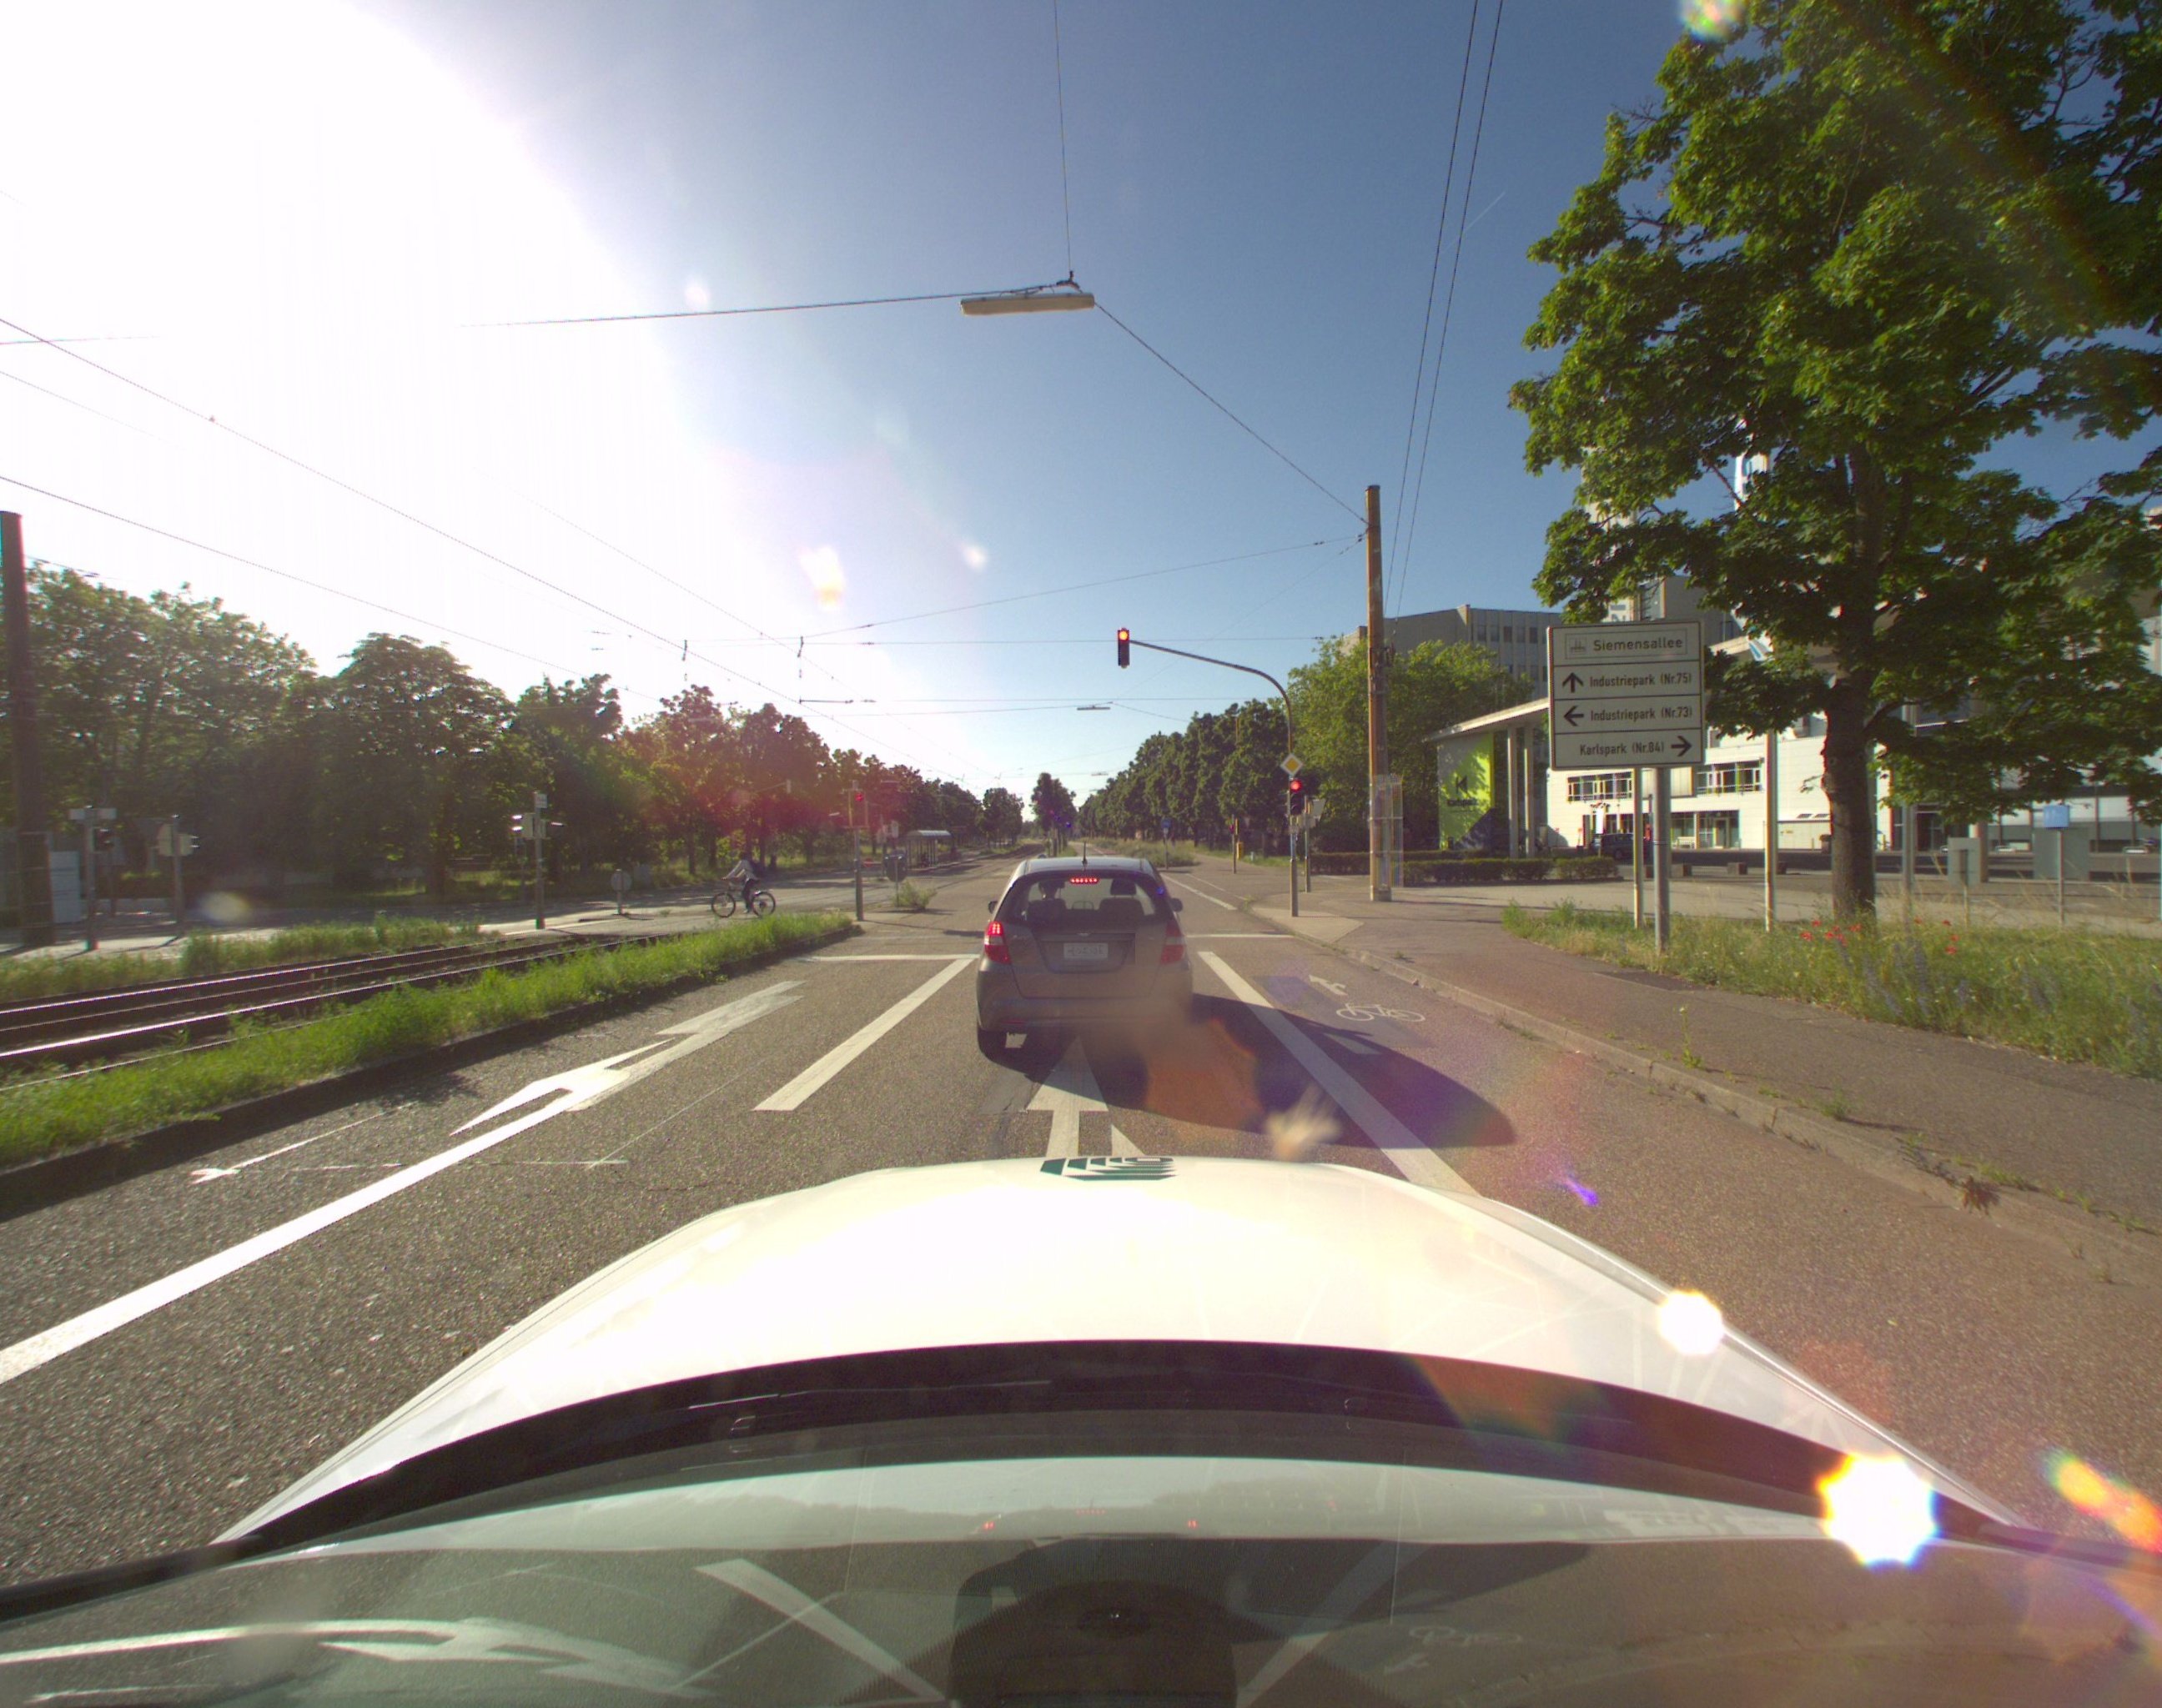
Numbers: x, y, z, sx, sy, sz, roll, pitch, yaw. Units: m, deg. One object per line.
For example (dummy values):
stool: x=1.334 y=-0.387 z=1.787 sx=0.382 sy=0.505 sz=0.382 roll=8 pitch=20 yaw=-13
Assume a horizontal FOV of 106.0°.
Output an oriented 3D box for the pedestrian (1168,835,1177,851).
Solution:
pedestrian: x=10.836 y=-1.341 z=96.011 sx=0.880 sy=1.884 sz=0.875 roll=-2 pitch=1 yaw=-2

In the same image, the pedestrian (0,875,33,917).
pedestrian: x=-48.364 y=1.895 z=36.824 sx=0.943 sy=1.787 sz=0.824 roll=-2 pitch=1 yaw=15

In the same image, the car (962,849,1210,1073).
car: x=0.093 y=0.741 z=7.476 sx=1.694 sy=1.524 sz=3.711 roll=-1 pitch=0 yaw=2

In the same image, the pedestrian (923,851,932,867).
pedestrian: x=-12.445 y=0.382 z=66.003 sx=0.562 sy=1.257 sz=0.581 roll=-4 pitch=0 yaw=1

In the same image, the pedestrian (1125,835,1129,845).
pedestrian: x=8.020 y=-2.360 z=141.985 sx=0.723 sy=1.690 sz=0.820 roll=-1 pitch=-1 yaw=-1

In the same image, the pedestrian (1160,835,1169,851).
pedestrian: x=9.893 y=-1.334 z=96.016 sx=0.880 sy=1.884 sz=0.875 roll=-2 pitch=1 yaw=-2

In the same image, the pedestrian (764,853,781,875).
pedestrian: x=-24.237 y=0.771 z=63.912 sx=0.751 sy=1.734 sz=0.943 roll=-1 pitch=1 yaw=30

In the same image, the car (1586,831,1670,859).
car: x=33.321 y=-0.564 z=49.639 sx=3.984 sy=1.578 sz=1.949 roll=-1 pitch=0 yaw=-8

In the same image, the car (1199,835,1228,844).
car: x=23.443 y=-2.546 z=144.249 sx=4.623 sy=1.555 sz=1.997 roll=-2 pitch=1 yaw=-5

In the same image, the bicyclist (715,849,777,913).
bicyclist: x=-8.637 y=0.684 z=21.027 sx=1.228 sy=1.593 sz=0.805 roll=-1 pitch=0 yaw=0

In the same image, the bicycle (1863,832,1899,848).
bicycle: x=52.271 y=-0.895 z=53.242 sx=0.565 sy=1.004 sz=1.614 roll=-2 pitch=1 yaw=-13

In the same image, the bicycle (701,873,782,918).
bicycle: x=-8.730 y=1.068 z=20.998 sx=1.769 sy=1.102 sz=0.699 roll=-1 pitch=0 yaw=0

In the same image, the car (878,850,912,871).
car: x=-18.040 y=0.600 z=79.058 sx=2.087 sy=1.810 sz=4.792 roll=-3 pitch=1 yaw=0

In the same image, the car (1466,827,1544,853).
car: x=31.108 y=-1.045 z=59.769 sx=4.888 sy=1.757 sz=2.082 roll=-2 pitch=1 yaw=-14

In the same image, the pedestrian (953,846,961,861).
pedestrian: x=-12.267 y=-0.045 z=80.572 sx=0.542 sy=1.447 sz=0.559 roll=-2 pitch=0 yaw=1

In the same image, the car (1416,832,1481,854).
car: x=30.045 y=-0.921 z=66.661 sx=4.448 sy=1.686 sz=1.892 roll=-2 pitch=1 yaw=-4
